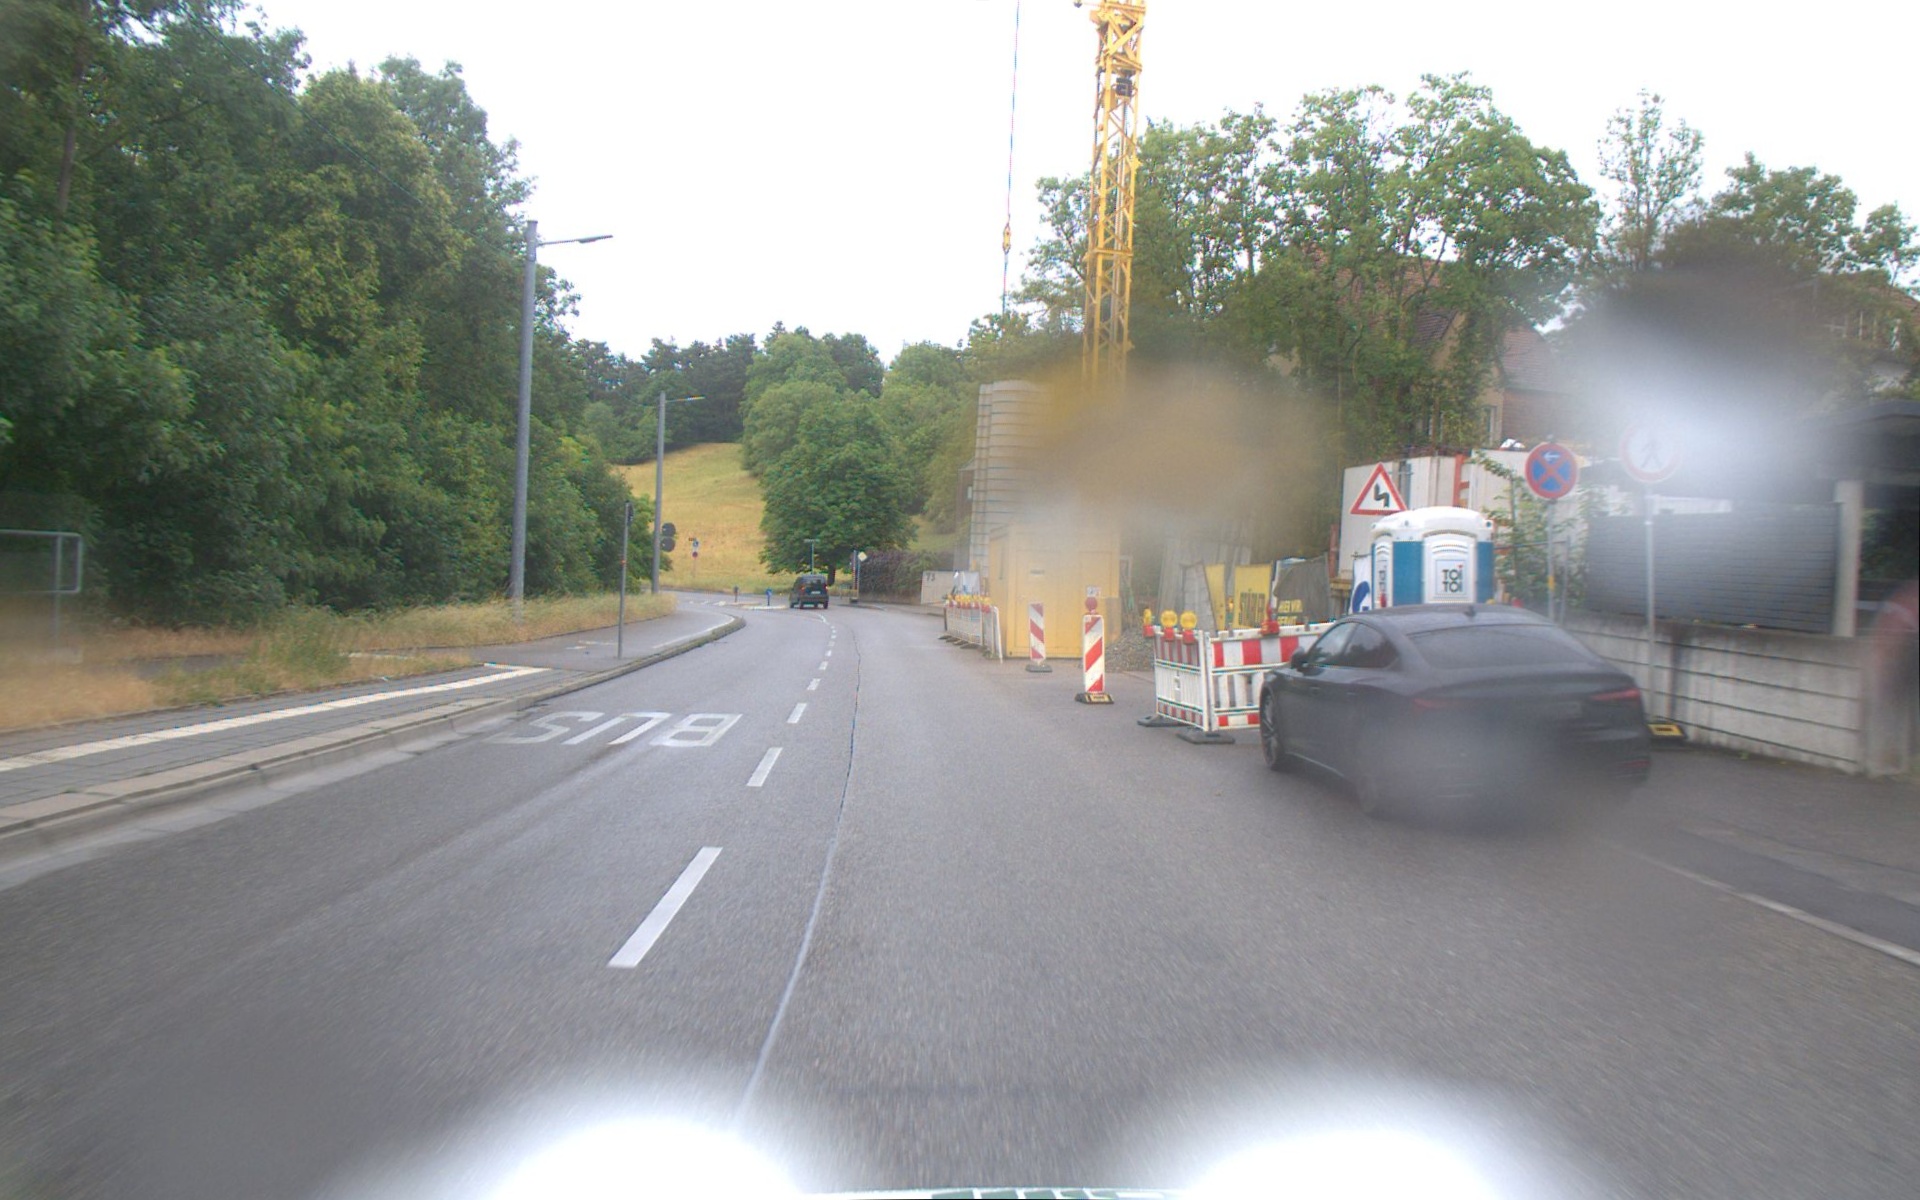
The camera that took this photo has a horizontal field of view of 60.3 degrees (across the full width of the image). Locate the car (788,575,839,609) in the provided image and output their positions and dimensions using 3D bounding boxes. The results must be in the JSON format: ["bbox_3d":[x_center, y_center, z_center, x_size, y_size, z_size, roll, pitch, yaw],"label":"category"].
[{"bbox_3d":[-8.231,-0.446,92.653,1.903,1.781,3.978,1,1,-19],"label":"car"}]

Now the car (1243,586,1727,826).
[{"bbox_3d":[3.690,0.642,12.712,1.894,1.447,4.833,1,1,-4],"label":"car"}]

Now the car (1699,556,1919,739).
[{"bbox_3d":[8.680,0.435,15.469,1.660,1.497,4.000,5,0,0],"label":"car"}]
